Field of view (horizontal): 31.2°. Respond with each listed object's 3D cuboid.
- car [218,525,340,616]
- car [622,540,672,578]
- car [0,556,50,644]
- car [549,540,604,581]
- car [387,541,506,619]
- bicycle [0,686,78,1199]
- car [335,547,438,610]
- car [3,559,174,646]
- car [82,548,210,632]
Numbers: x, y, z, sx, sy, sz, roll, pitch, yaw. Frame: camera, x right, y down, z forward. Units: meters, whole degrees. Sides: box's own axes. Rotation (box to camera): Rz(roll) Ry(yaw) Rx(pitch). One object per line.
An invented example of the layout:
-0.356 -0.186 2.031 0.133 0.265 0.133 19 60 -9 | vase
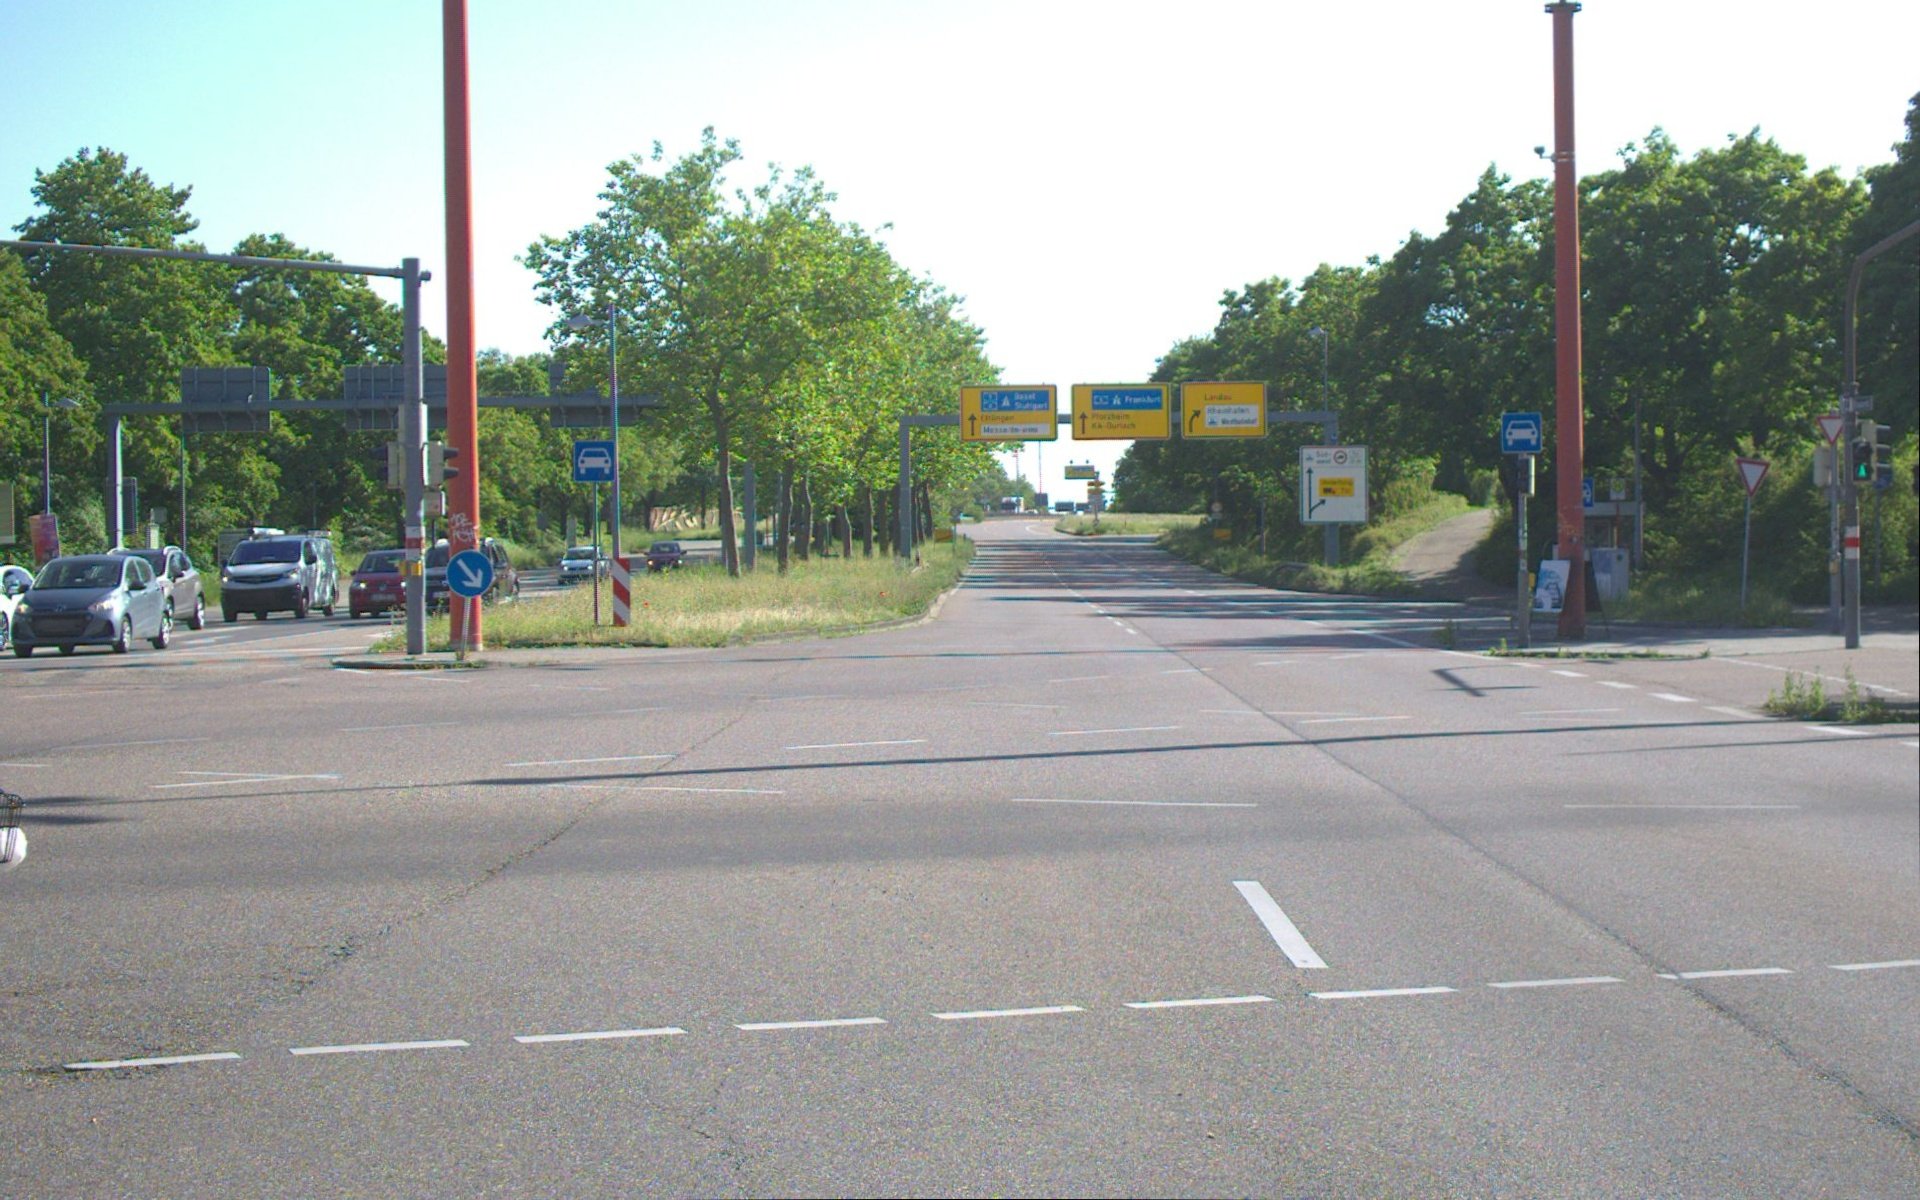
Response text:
-15.738 -0.702 79.664 1.893 2.019 5.224 -1 1 -1 | car
-13.582 -1.804 149.428 1.819 1.623 4.000 -1 1 -1 | car
-16.421 -0.014 57.051 1.739 1.406 3.613 -1 1 -1 | car
-15.382 -1.597 138.088 1.797 1.634 4.000 -1 1 -1 | car
-10.295 -0.420 69.171 1.819 1.503 4.000 -1 1 -1 | car
-3.068 0.830 7.810 1.942 1.191 0.692 -1 1 -28 | bicycle
-12.649 -0.491 76.030 1.739 1.357 3.613 -1 1 -1 | car
-13.113 0.018 51.905 1.739 1.239 3.613 -1 1 -1 | car
-16.136 -0.223 68.293 1.739 1.606 3.613 -1 1 -1 | car
